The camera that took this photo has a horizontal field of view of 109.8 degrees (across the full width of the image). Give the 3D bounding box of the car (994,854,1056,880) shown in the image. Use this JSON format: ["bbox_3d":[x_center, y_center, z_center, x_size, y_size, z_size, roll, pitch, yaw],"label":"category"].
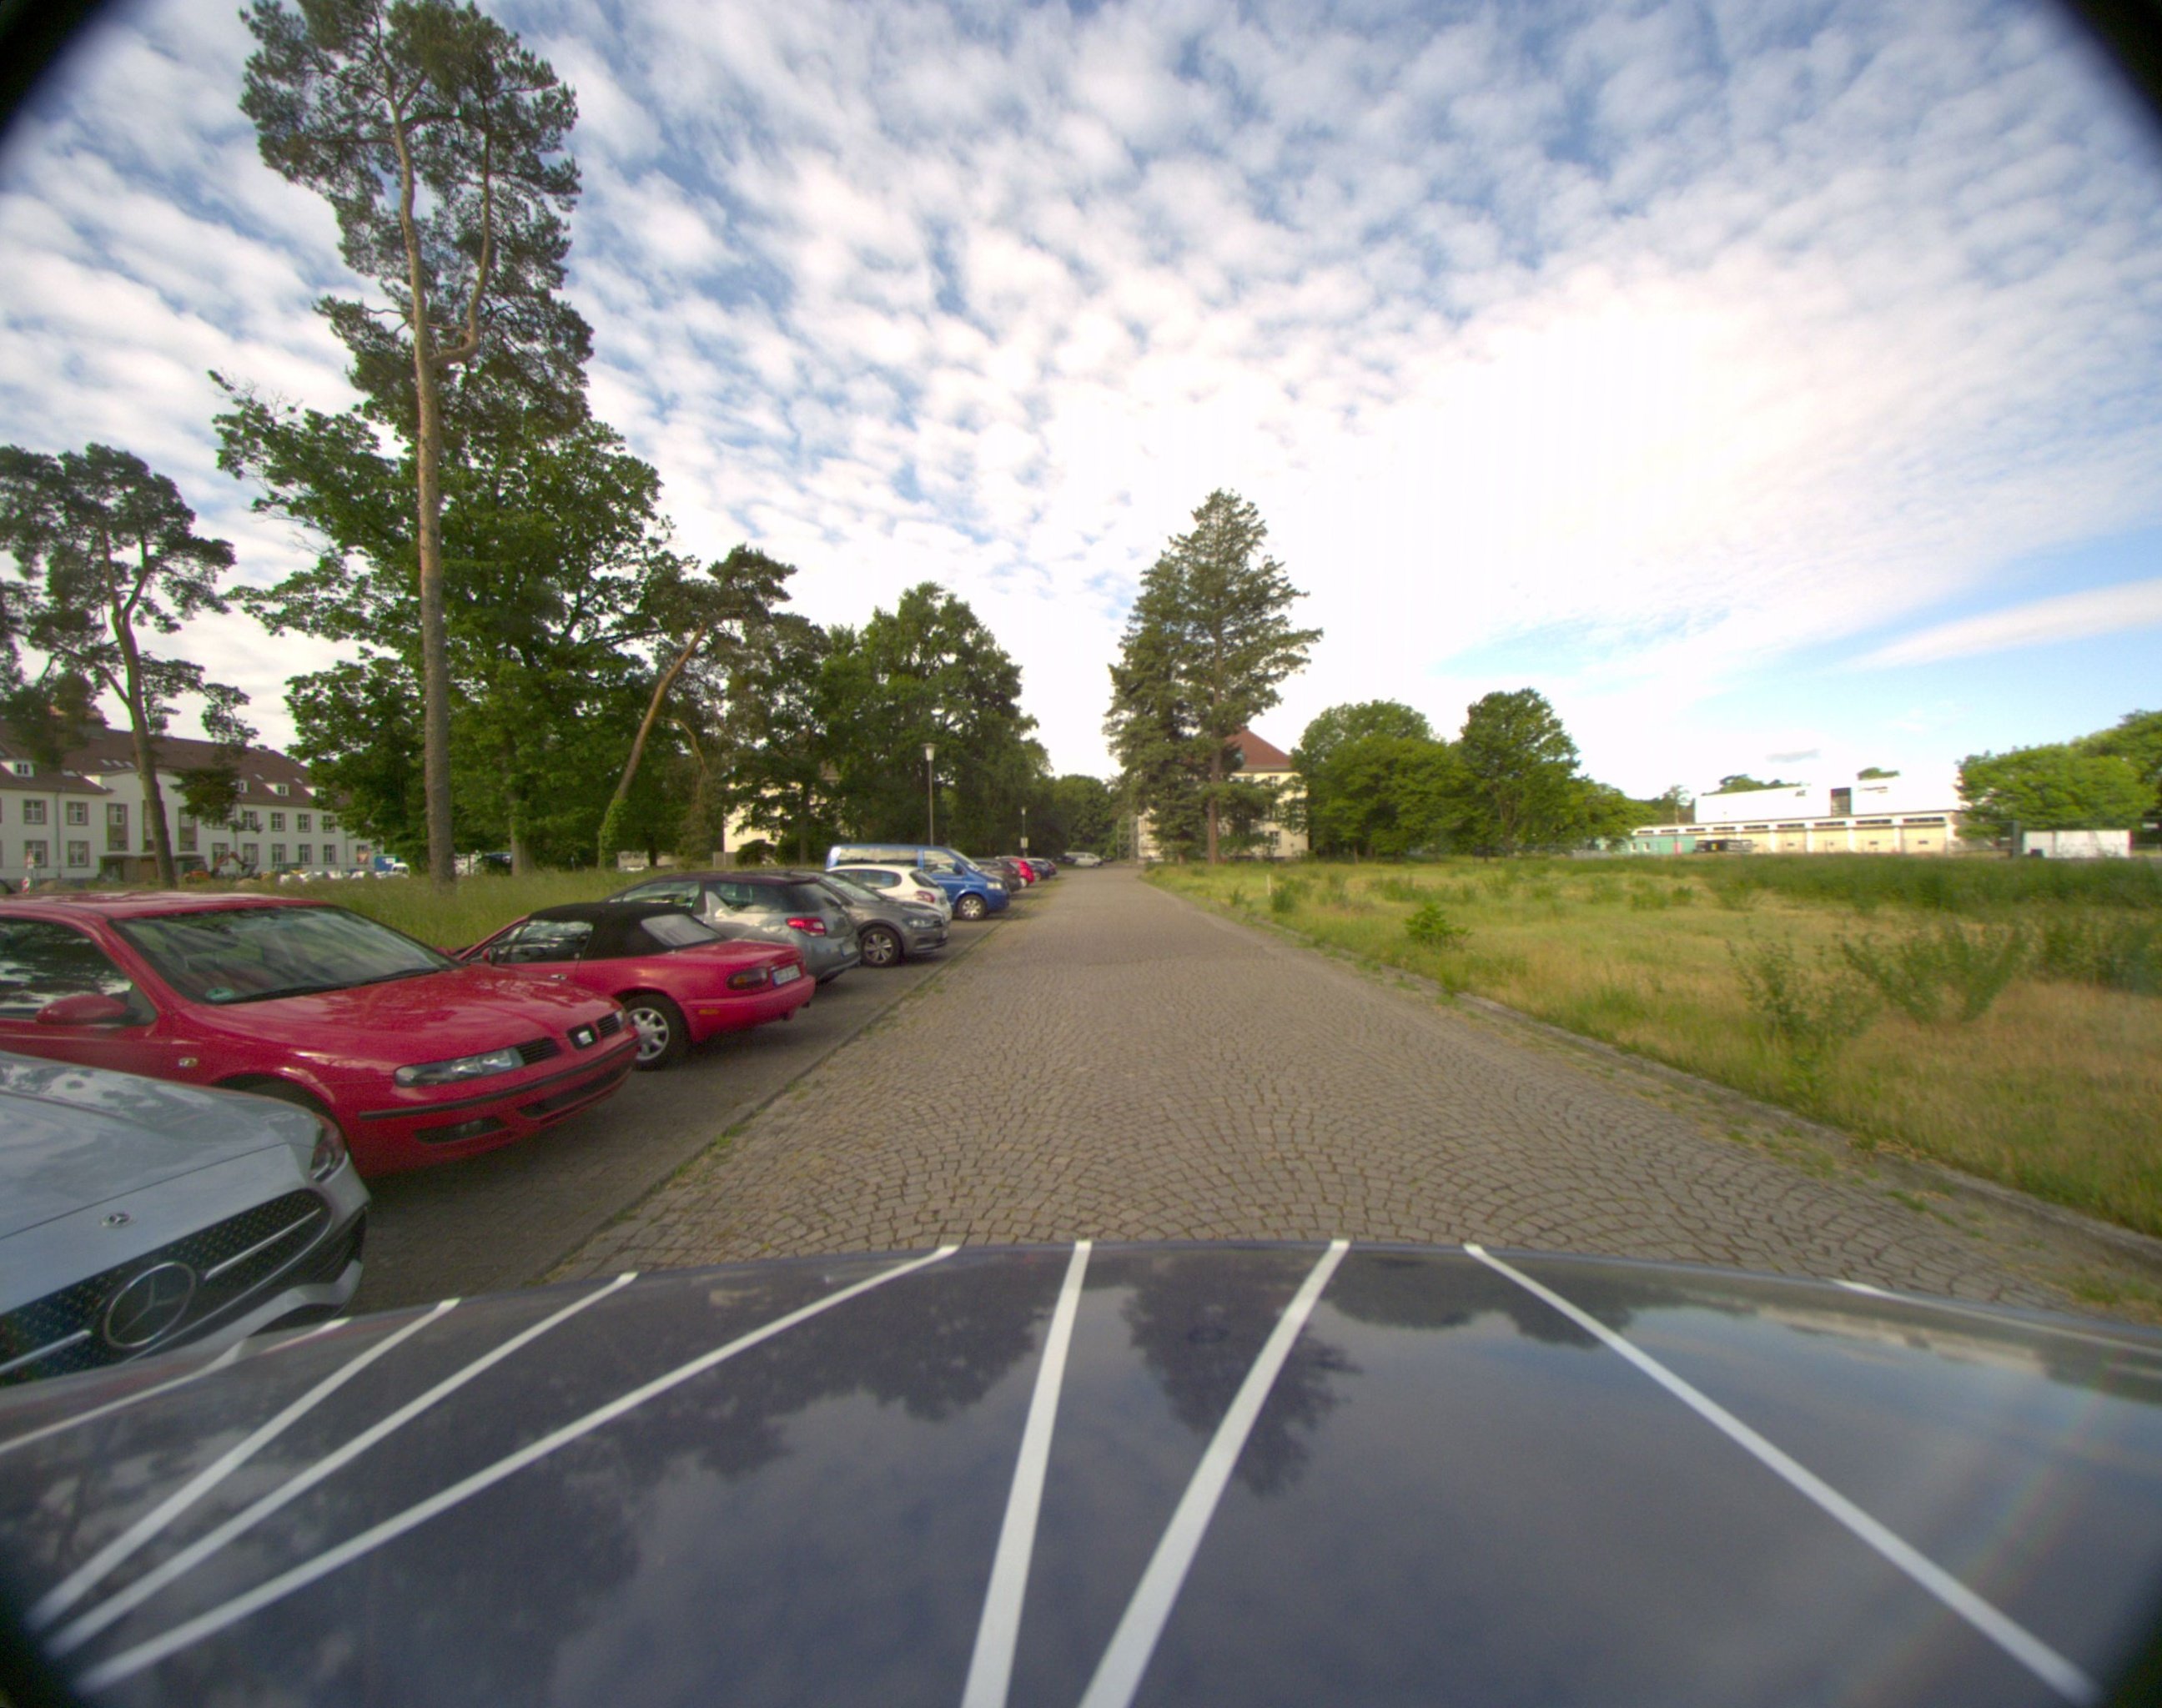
[{"bbox_3d":[-3.630,0.859,49.652,3.836,1.609,1.582,-1,1,5],"label":"car"}]

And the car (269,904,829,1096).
[{"bbox_3d":[-4.161,1.126,6.335,3.555,1.279,1.608,-1,-1,2],"label":"car"}]

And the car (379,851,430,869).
[{"bbox_3d":[-80.378,0.725,90.347,2.217,2.002,4.002,-1,0,6],"label":"car"}]

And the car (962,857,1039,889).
[{"bbox_3d":[-4.106,0.953,39.194,3.838,1.516,1.581,-1,0,-3],"label":"car"}]

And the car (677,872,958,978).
[{"bbox_3d":[-3.976,1.055,11.859,3.780,1.457,1.643,-1,0,3],"label":"car"}]

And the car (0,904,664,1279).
[{"bbox_3d":[-4.748,1.065,4.019,4.117,1.415,1.720,-1,1,1],"label":"car"}]

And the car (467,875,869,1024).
[{"bbox_3d":[-4.660,1.049,8.970,3.837,1.495,1.604,-1,0,1],"label":"car"}]

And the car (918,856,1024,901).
[{"bbox_3d":[-4.109,0.921,28.836,3.838,1.592,1.581,-1,0,-3],"label":"car"}]

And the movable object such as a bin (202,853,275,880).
[{"bbox_3d":[-88.236,1.283,79.671,1.999,2.752,5.202,-1,0,-4],"label":"movable object such as a bin"}]

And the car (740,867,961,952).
[{"bbox_3d":[-4.373,1.042,14.770,3.761,1.490,1.581,-1,0,3],"label":"car"}]

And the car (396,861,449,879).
[{"bbox_3d":[-66.940,1.581,77.329,1.847,1.674,3.937,1,0,4],"label":"car"}]

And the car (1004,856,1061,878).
[{"bbox_3d":[-3.440,0.908,54.344,3.836,1.520,1.674,-1,0,5],"label":"car"}]

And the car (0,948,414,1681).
[{"bbox_3d":[-4.449,1.041,1.689,4.336,1.420,1.767,0,0,0],"label":"car"}]

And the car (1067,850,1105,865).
[{"bbox_3d":[0.669,0.441,103.021,5.129,2.002,1.804,-1,1,-1],"label":"car"}]

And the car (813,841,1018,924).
[{"bbox_3d":[-4.268,0.708,20.192,4.953,2.011,2.060,1,1,2],"label":"car"}]
